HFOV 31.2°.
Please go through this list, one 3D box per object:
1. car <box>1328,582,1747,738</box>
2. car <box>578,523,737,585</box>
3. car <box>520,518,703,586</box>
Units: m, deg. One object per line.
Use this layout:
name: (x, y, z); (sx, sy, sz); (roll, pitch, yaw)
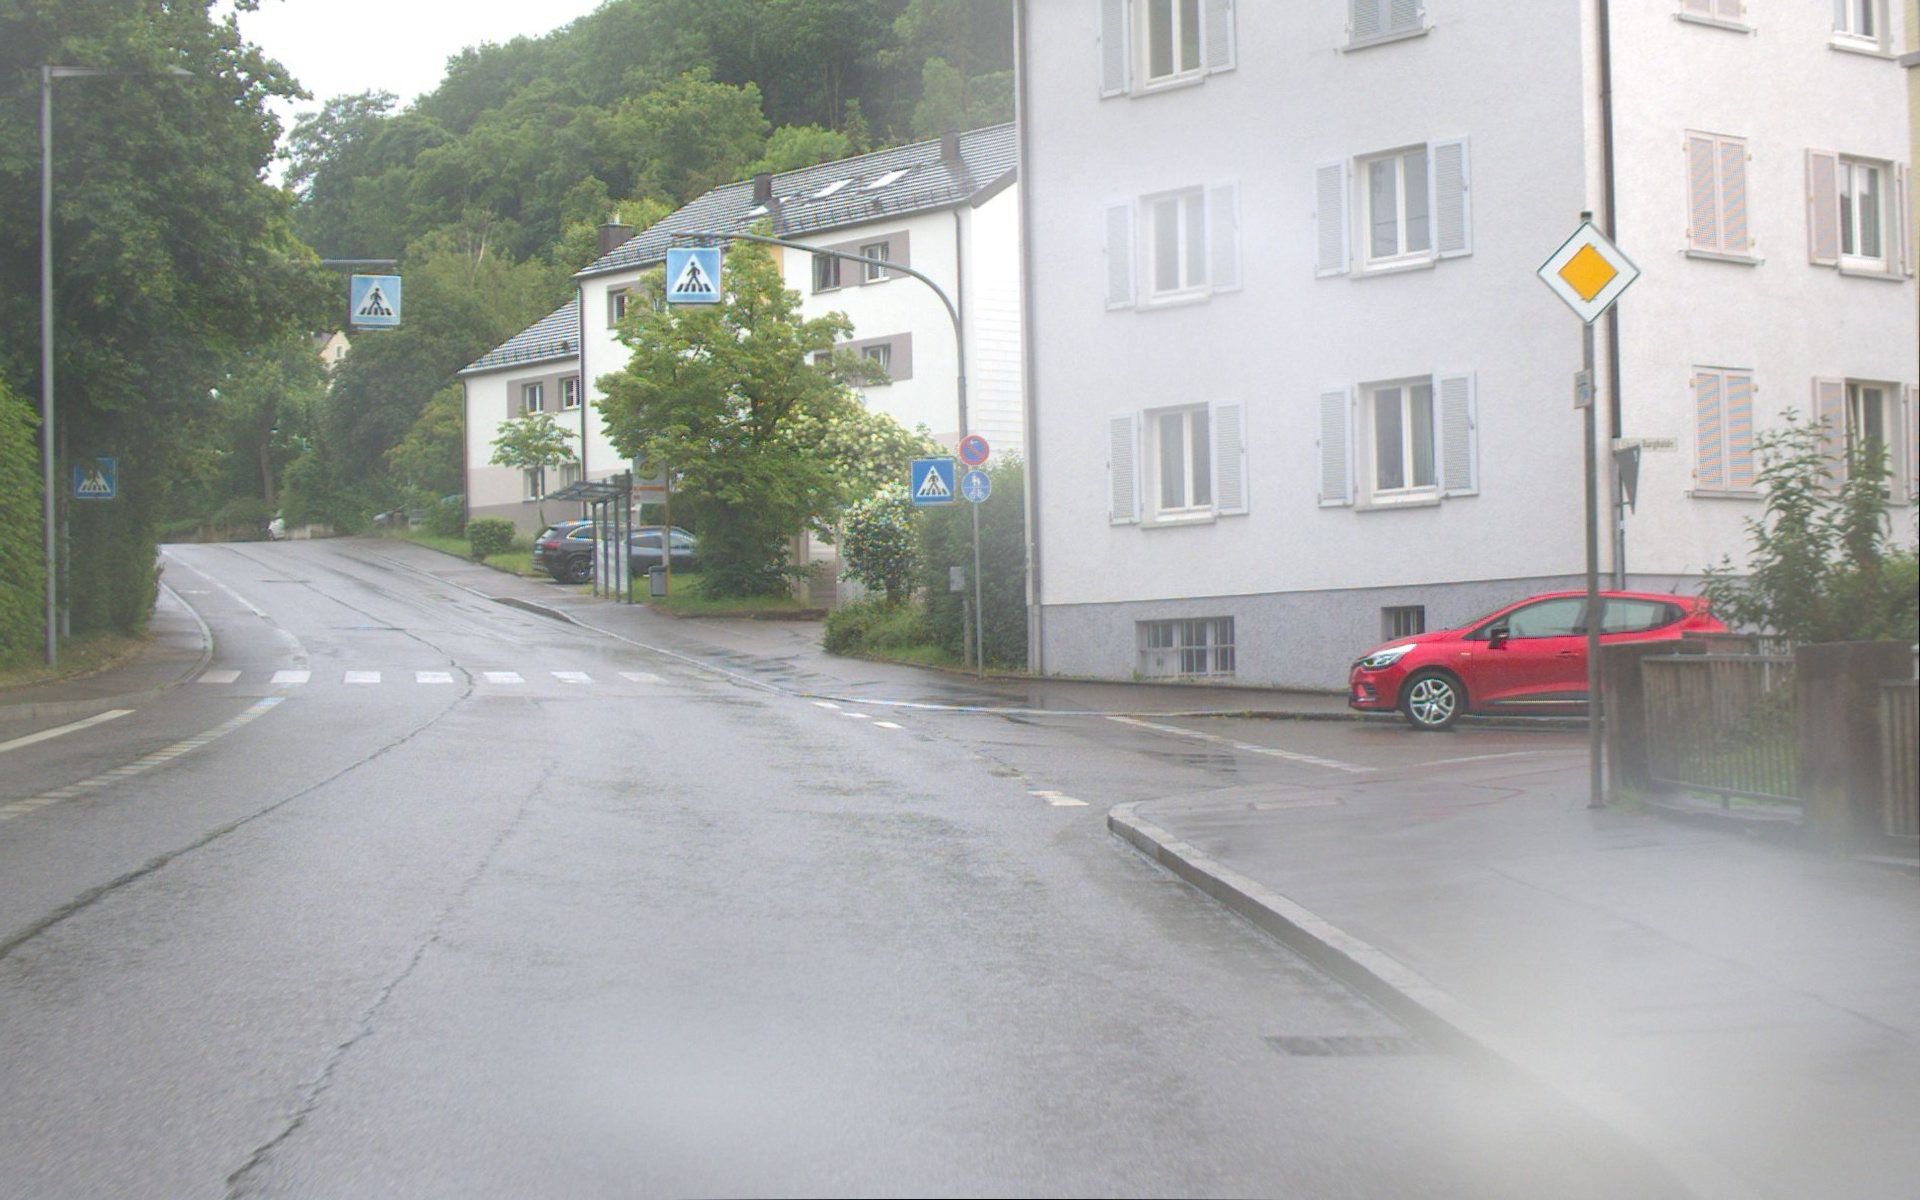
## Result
car: (5.841, 0.590, 35.116); (4.081, 1.403, 1.724); (2, 1, 7)
car: (-7.675, -1.179, 87.134); (3.742, 1.453, 1.725); (-1, 3, -17)
car: (-9.313, -1.291, 91.981); (4.525, 1.654, 1.857); (-2, 3, -22)
